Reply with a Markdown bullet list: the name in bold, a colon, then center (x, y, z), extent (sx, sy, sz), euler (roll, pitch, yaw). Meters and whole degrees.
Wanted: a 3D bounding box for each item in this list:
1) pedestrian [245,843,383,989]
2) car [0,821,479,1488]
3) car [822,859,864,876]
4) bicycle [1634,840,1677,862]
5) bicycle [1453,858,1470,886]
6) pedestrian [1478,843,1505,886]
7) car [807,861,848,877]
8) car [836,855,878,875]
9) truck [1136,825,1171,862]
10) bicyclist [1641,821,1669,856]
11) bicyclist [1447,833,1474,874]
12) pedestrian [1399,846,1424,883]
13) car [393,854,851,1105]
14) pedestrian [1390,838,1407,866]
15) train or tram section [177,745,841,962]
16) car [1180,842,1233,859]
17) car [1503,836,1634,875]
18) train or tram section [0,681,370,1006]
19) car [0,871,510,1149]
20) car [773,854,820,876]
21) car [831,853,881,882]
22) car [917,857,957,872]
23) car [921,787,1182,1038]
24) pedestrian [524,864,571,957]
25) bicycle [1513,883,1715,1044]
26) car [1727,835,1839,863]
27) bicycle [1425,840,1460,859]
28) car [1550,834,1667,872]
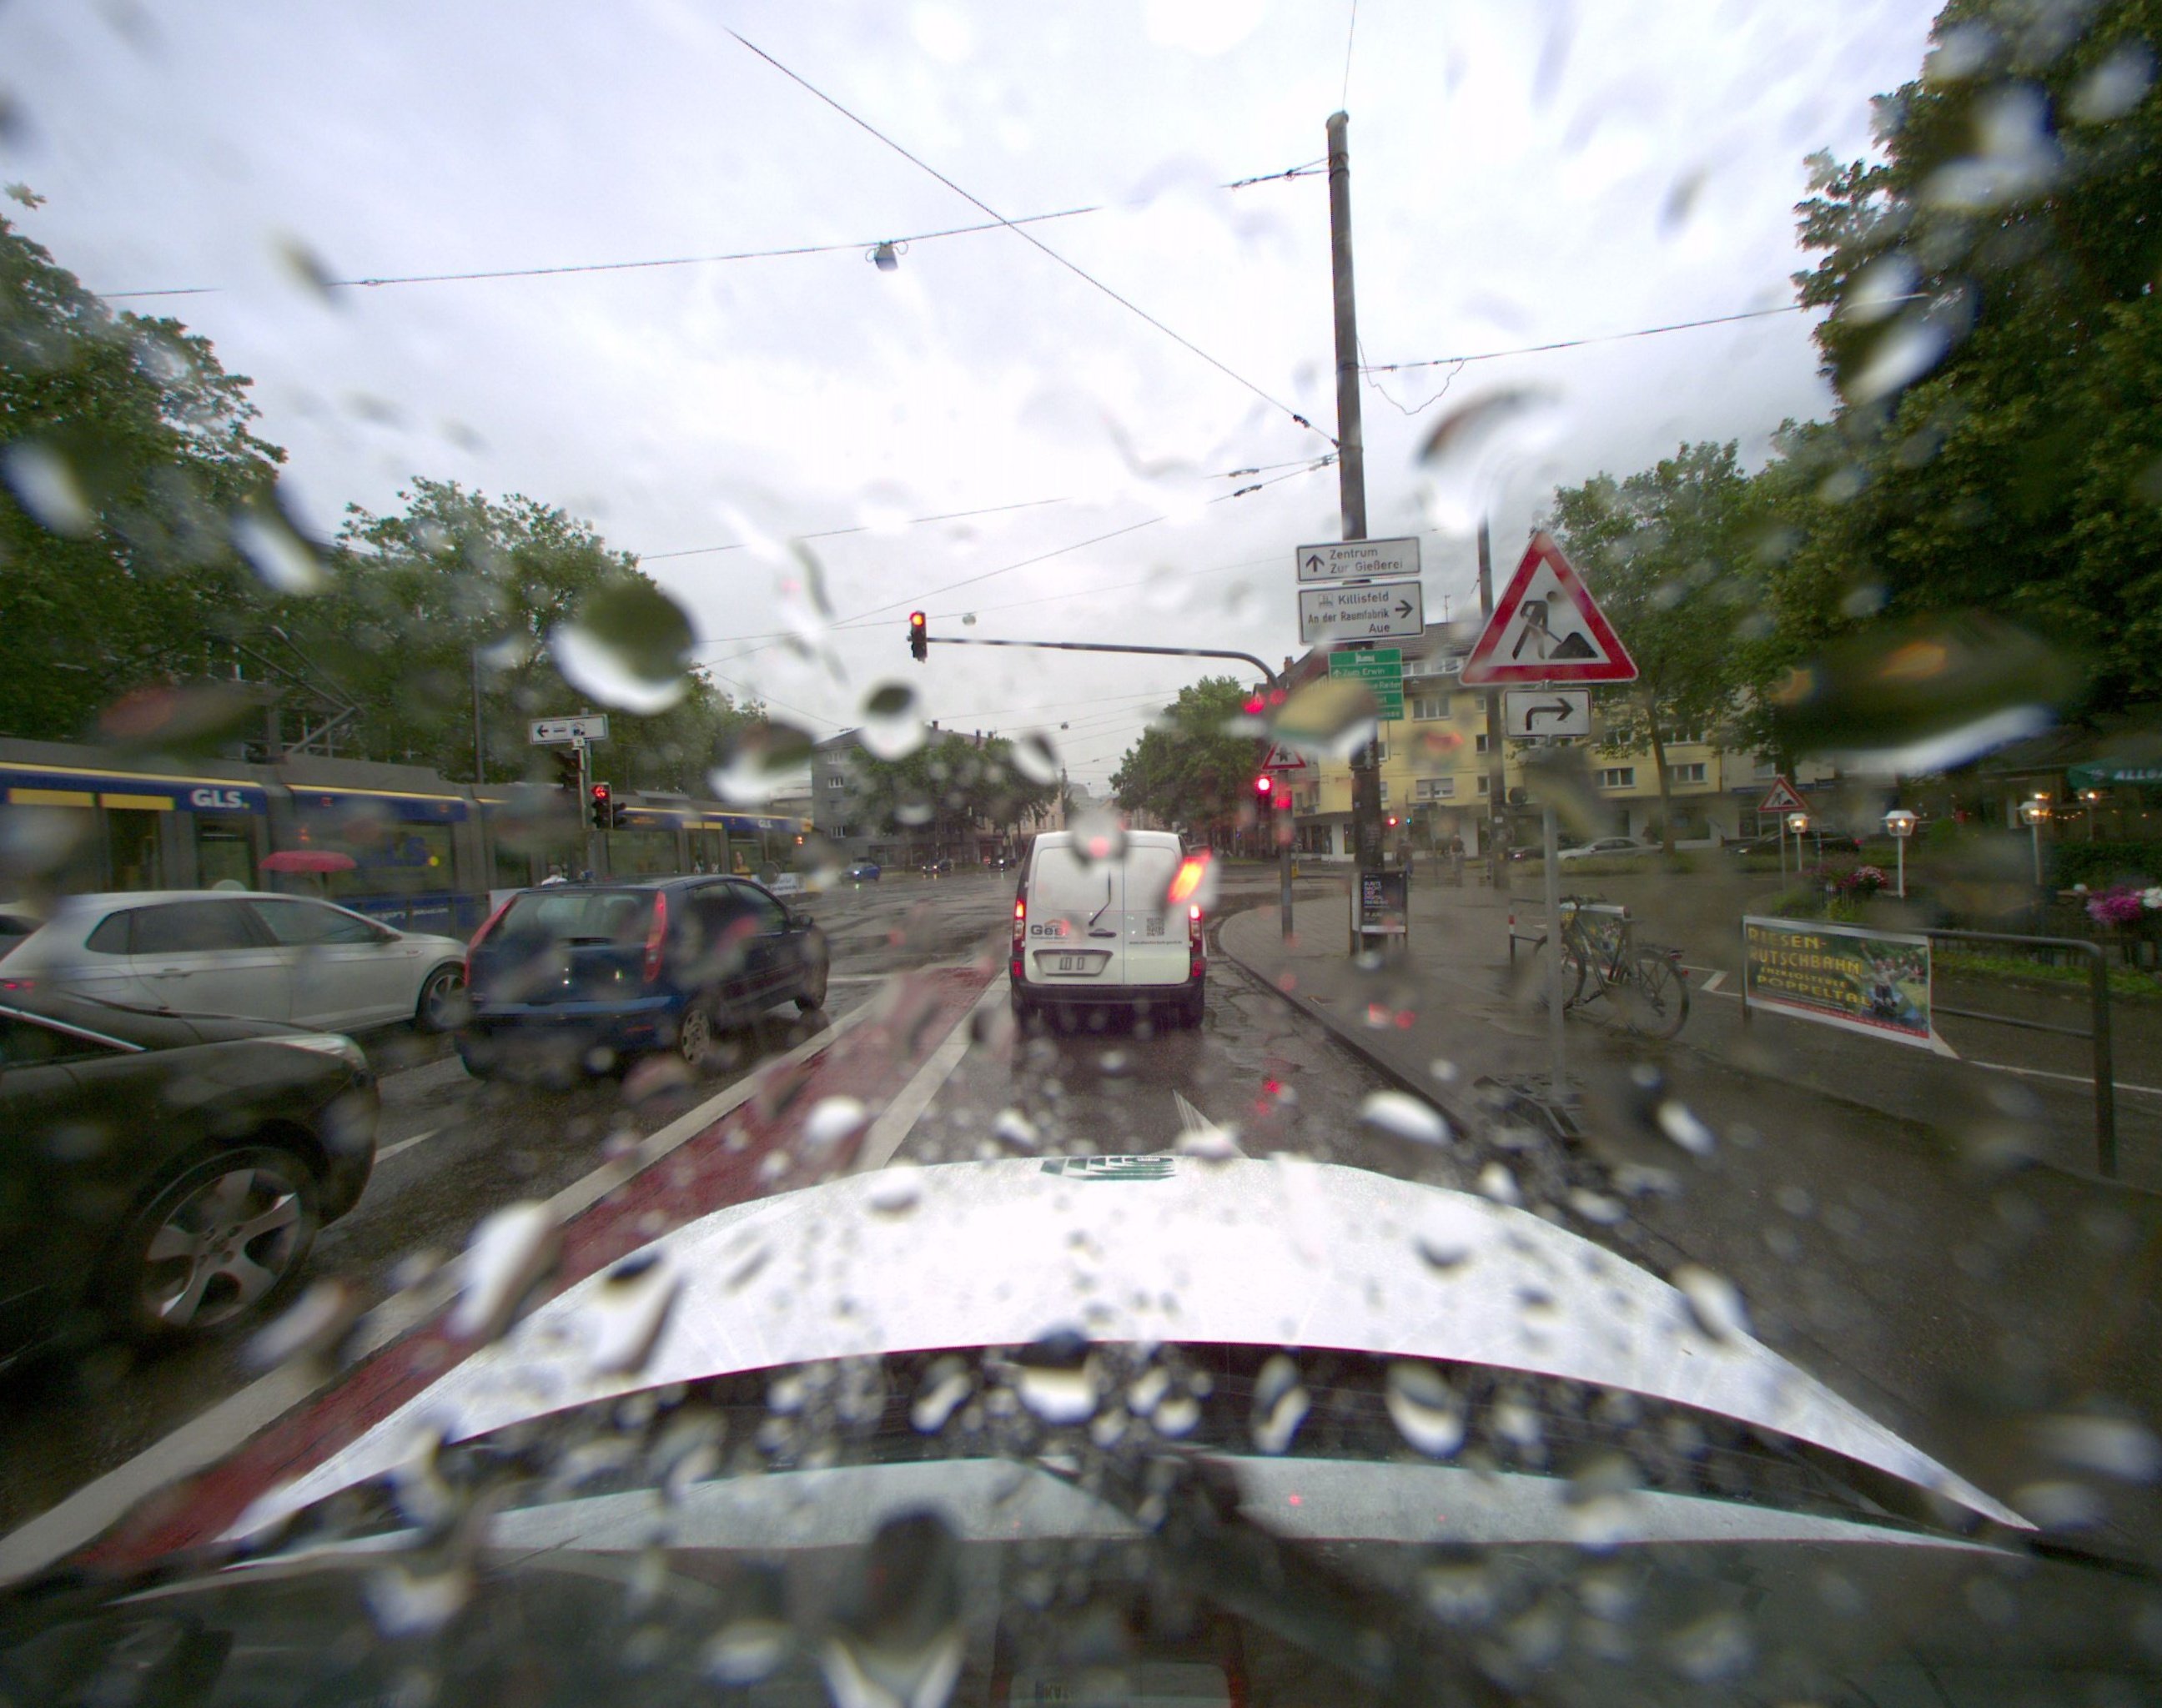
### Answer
- **pedestrian**: center (-9.807, 0.760, 10.454), extent (0.763, 1.746, 0.899), euler (-4, 1, 1)
- **car**: center (-3.646, 0.766, 1.521), extent (1.827, 1.668, 4.174), euler (-1, 0, 2)
- **car**: center (-25.458, 1.435, 87.225), extent (1.975, 1.530, 4.025), euler (-1, 1, 29)
- **bicycle**: center (26.669, -0.140, 37.805), extent (1.631, 1.002, 0.422), euler (-1, 0, 2)
- **bicycle**: center (15.185, 0.705, 32.510), extent (0.455, 1.027, 1.911), euler (-1, 1, 20)
- **pedestrian**: center (16.091, 0.414, 31.926), extent (0.896, 1.669, 1.026), euler (-1, 0, 26)
- **car**: center (-27.525, 1.627, 88.489), extent (1.935, 1.496, 4.025), euler (-1, 1, 29)
- **car**: center (-23.424, 1.183, 85.457), extent (1.975, 2.013, 4.025), euler (-1, 0, 29)
- **truck**: center (10.985, -1.426, 121.949), extent (3.447, 5.087, 15.355), euler (-1, 0, 11)
- **bicyclist**: center (26.642, -0.705, 37.809), extent (0.811, 1.615, 0.711), euler (-1, 0, 1)
- **bicyclist**: center (15.153, -0.021, 32.520), extent (0.871, 1.583, 0.864), euler (-1, 0, 19)
- **pedestrian**: center (13.999, 0.431, 34.453), extent (0.820, 1.534, 0.616), euler (-1, -1, -37)
- **car**: center (-3.481, 0.806, 7.118), extent (1.720, 1.578, 3.822), euler (-1, 0, 2)
- **pedestrian**: center (16.706, -0.107, 42.902), extent (0.624, 1.500, 0.547), euler (-1, -1, -31)
- **train or tram section**: center (-11.596, 0.008, 20.731), extent (3.517, 3.413, 15.555), euler (0, 0, 12)
- **car**: center (10.578, -0.316, 68.845), extent (4.160, 1.339, 1.518), euler (-2, 1, -6)
- **car**: center (22.857, 0.109, 38.375), extent (4.902, 1.643, 2.007), euler (-1, -3, 14)
- **train or tram section**: center (-13.484, -0.114, 6.366), extent (3.500, 3.512, 13.665), euler (0, 0, 2)
- **car**: center (-6.757, 0.933, 6.505), extent (1.623, 1.494, 3.783), euler (-1, 0, 2)
- **car**: center (-30.828, 1.196, 88.451), extent (1.975, 2.198, 4.816), euler (0, 2, 25)
- **car**: center (-16.461, 0.941, 59.893), extent (1.981, 2.013, 4.011), euler (-1, 0, 10)
- **car**: center (-13.353, 0.966, 75.947), extent (1.935, 1.239, 4.020), euler (-1, 1, 19)
- **car**: center (-0.169, 0.500, 9.174), extent (2.092, 2.012, 4.965), euler (-2, -1, 2)
- **pedestrian**: center (-9.589, 0.993, 14.656), extent (0.629, 1.607, 0.735), euler (-1, -1, -29)
- **bicycle**: center (4.487, 0.847, 7.049), extent (0.512, 1.107, 2.018), euler (1, 0, 3)
- **car**: center (29.282, -0.209, 34.035), extent (3.511, 1.082, 1.248), euler (-1, 0, 4)
- **bicycle**: center (24.329, -0.298, 54.861), extent (2.085, 1.261, 0.534), euler (-1, 1, 16)
- **car**: center (22.770, -0.056, 35.301), extent (3.906, 1.490, 1.815), euler (-1, 1, 17)
